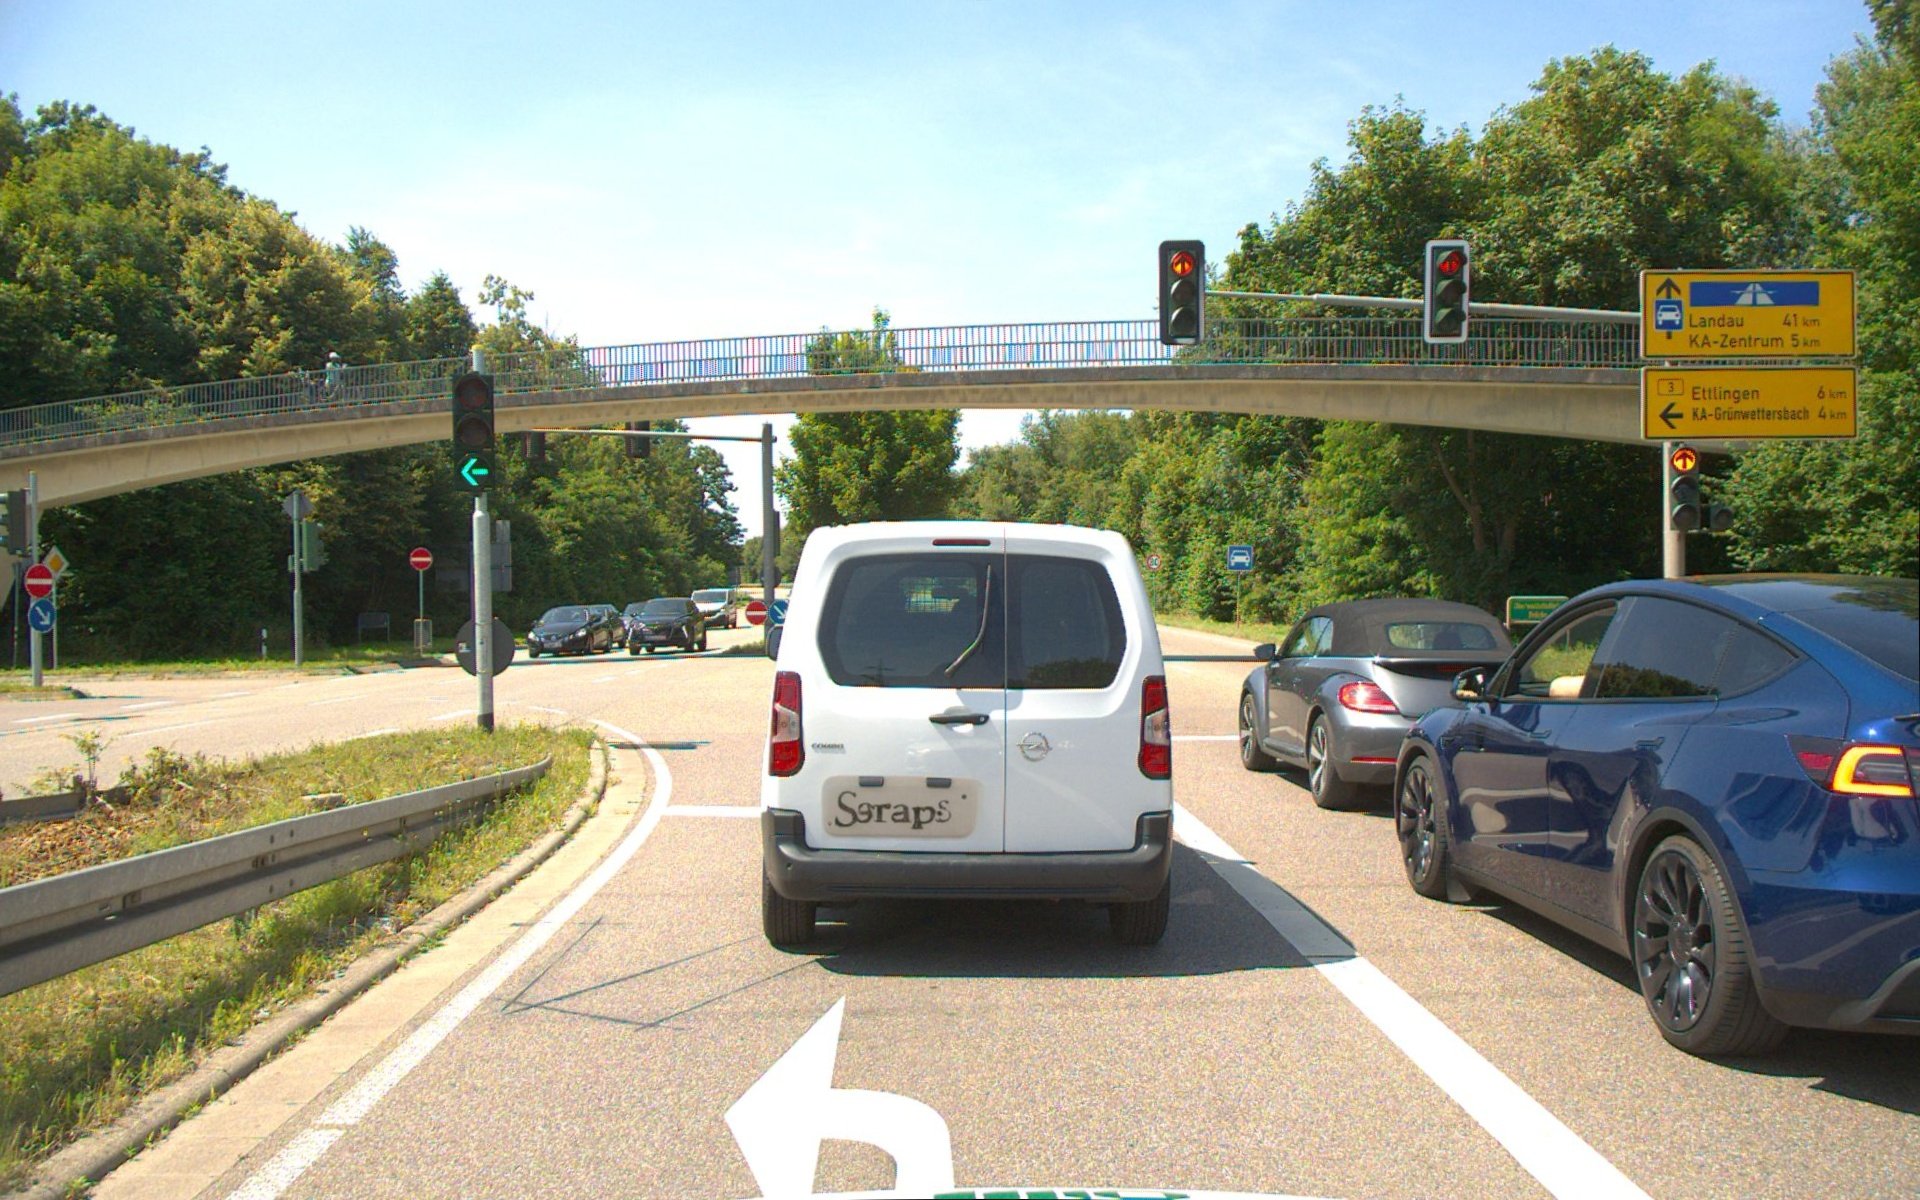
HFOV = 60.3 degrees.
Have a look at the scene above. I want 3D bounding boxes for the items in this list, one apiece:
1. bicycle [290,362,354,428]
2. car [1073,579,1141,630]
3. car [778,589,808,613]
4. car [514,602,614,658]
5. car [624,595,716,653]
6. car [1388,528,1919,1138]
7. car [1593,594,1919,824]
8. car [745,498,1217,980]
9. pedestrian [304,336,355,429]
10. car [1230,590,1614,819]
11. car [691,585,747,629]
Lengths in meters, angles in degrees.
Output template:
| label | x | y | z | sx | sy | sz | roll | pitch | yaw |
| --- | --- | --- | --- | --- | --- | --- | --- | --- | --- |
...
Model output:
| label | x | y | z | sx | sy | sz | roll | pitch | yaw |
| --- | --- | --- | --- | --- | --- | --- | --- | --- | --- |
| bicycle | -16.170 | -5.186 | 41.928 | 1.494 | 1.500 | 0.470 | -3 | -2 | 15 |
| car | 5.259 | 0.118 | 59.879 | 2.000 | 1.728 | 5.086 | -1 | 1 | 0 |
| car | -14.810 | 0.087 | 146.700 | 2.163 | 2.028 | 4.733 | -2 | 0 | -1 |
| car | -11.631 | 0.844 | 48.849 | 1.967 | 1.486 | 4.054 | -2 | 0 | -1 |
| car | -8.133 | 0.643 | 46.707 | 1.953 | 1.550 | 4.027 | 0 | 0 | -1 |
| car | 3.322 | 0.638 | 6.822 | 1.862 | 1.673 | 4.519 | 1 | 0 | -1 |
| car | 6.825 | 0.723 | 13.134 | 1.862 | 1.503 | 4.379 | 1 | 0 | -1 |
| car | 0.027 | 0.514 | 8.418 | 1.812 | 1.857 | 3.980 | 1 | 1 | -2 |
| pedestrian | -16.059 | -5.527 | 42.166 | 0.765 | 2.177 | 0.932 | -3 | -2 | 15 |
| car | 3.414 | 0.687 | 13.026 | 1.862 | 1.503 | 3.938 | 1 | 0 | -1 |
| car | -11.854 | 0.341 | 81.626 | 2.164 | 2.028 | 5.485 | -2 | 0 | -3 |
